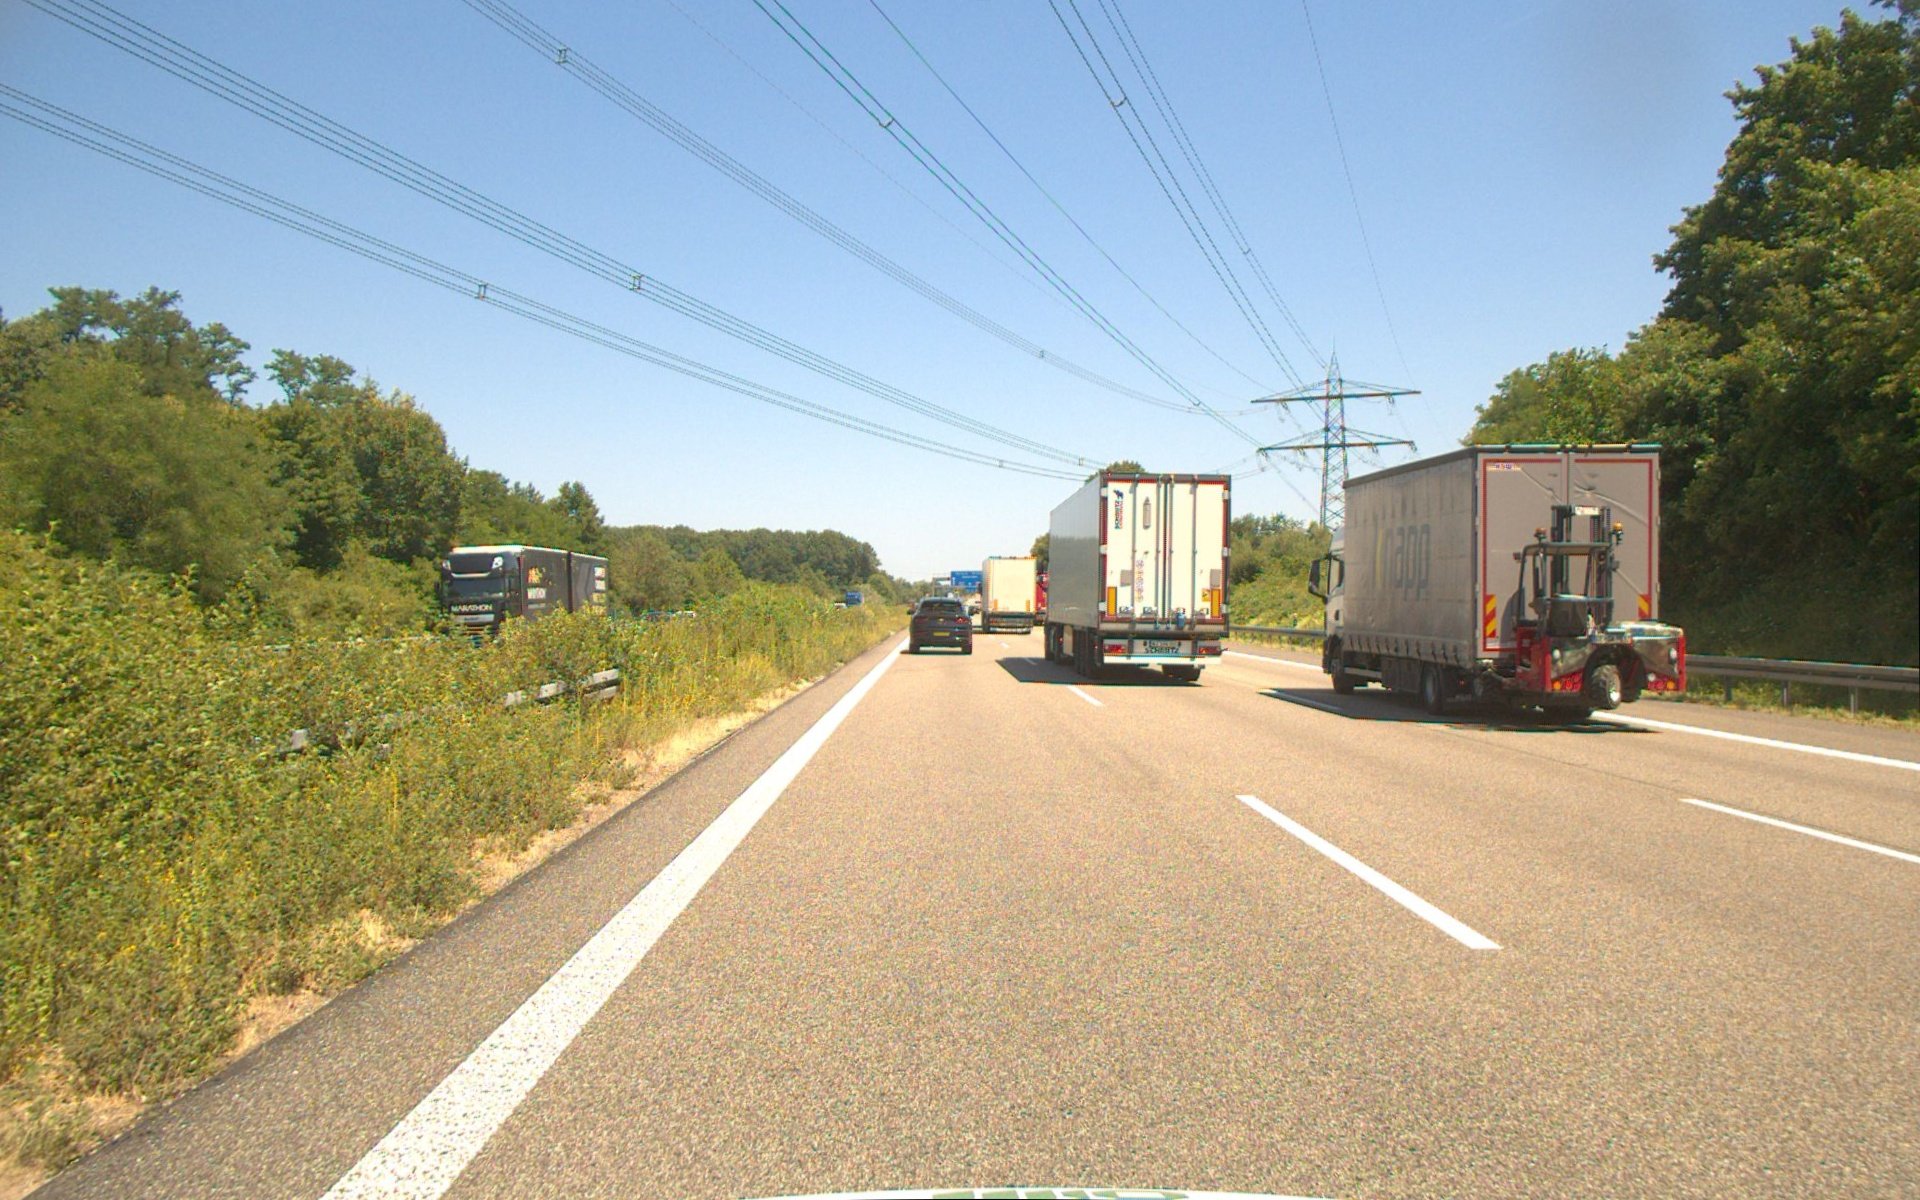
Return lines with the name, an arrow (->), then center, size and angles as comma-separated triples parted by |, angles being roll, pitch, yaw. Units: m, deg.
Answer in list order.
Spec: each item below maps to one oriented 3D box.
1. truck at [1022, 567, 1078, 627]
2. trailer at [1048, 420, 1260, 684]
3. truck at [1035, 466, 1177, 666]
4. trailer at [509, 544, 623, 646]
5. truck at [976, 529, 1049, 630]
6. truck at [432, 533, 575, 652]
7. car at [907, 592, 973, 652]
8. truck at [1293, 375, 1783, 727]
truck -> 7.208, -0.240, 133.865 | 3.441, 4.571, 13.246 | 1, 0, -1
trailer -> 4.030, -0.884, 37.651 | 3.024, 4.970, 12.254 | 1, 0, -1
truck -> 3.844, -0.847, 44.967 | 3.024, 4.970, 6.595 | 1, 0, -1
trailer -> -17.565, -0.183, 74.471 | 2.710, 4.167, 10.296 | -2, 0, -1
truck -> 2.781, -1.058, 91.902 | 3.441, 5.257, 10.255 | 1, 0, -1
truck -> -17.505, -0.232, 64.206 | 2.702, 4.194, 10.214 | -1, 0, 0
car -> -0.659, 0.666, 52.083 | 1.954, 1.803, 3.998 | 0, 0, -3
truck -> 8.428, -0.580, 26.564 | 3.499, 4.319, 11.648 | 1, 0, -1
